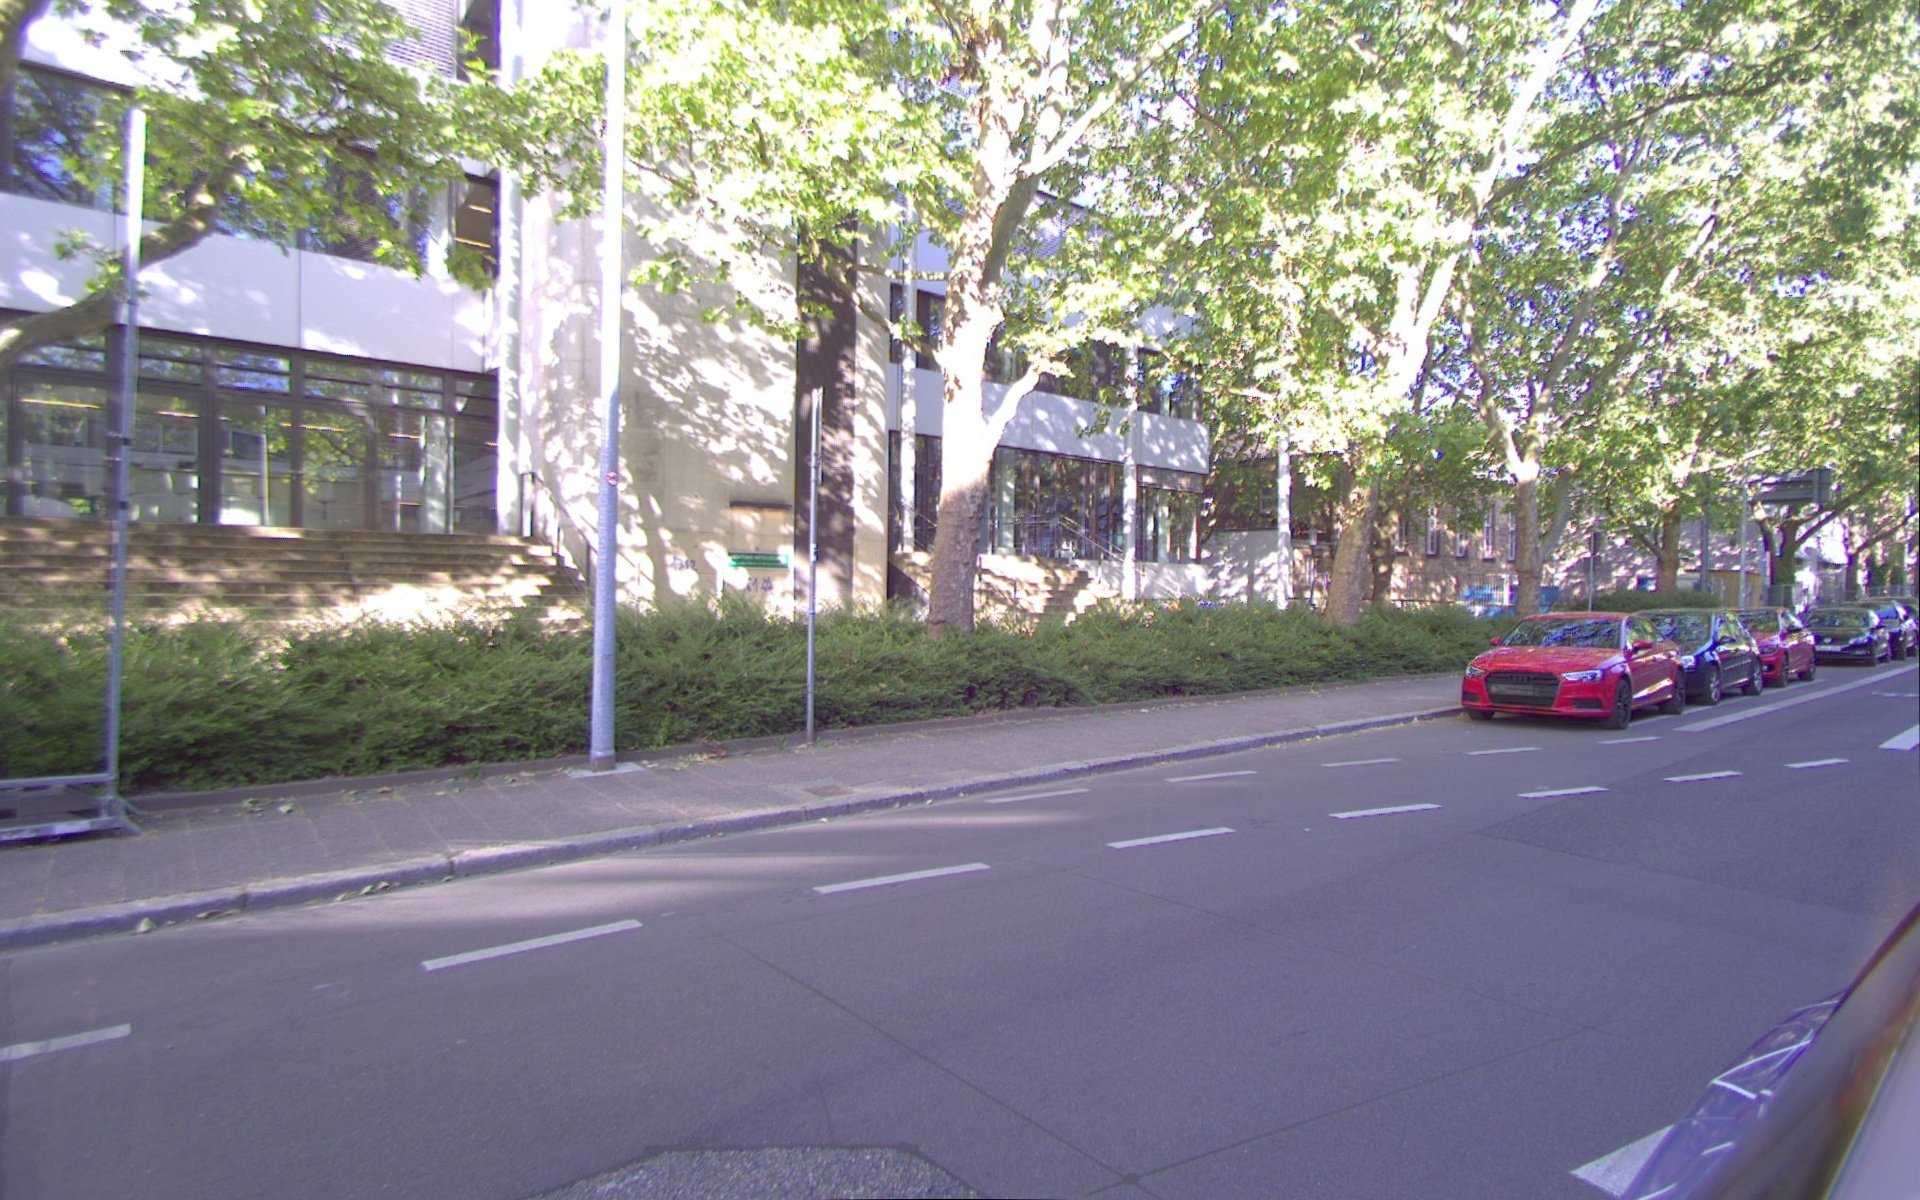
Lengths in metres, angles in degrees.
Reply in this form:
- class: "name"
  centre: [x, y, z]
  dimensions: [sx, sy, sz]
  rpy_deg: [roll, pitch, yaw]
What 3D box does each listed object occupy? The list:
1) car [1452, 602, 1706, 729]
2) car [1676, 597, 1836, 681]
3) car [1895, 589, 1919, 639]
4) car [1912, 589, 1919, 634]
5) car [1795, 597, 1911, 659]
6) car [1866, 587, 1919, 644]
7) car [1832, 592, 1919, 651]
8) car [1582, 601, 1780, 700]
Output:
- class: "car"
  centre: [8.361, 0.751, 13.537]
  dimensions: [4.092, 1.431, 1.815]
  rpy_deg: [0, -1, -42]
- class: "car"
  centre: [15.861, 0.698, 20.097]
  dimensions: [4.092, 1.502, 1.815]
  rpy_deg: [0, -1, -42]
- class: "car"
  centre: [35.912, 0.481, 37.239]
  dimensions: [4.475, 1.777, 1.788]
  rpy_deg: [0, -1, -42]
- class: "car"
  centre: [39.629, 0.436, 40.389]
  dimensions: [4.475, 1.777, 2.040]
  rpy_deg: [0, -1, -42]
- class: "car"
  centre: [23.053, 0.677, 26.090]
  dimensions: [4.092, 1.478, 1.788]
  rpy_deg: [0, -1, -42]
- class: "car"
  centre: [31.059, 0.486, 33.004]
  dimensions: [4.271, 1.777, 1.788]
  rpy_deg: [0, -1, -42]
- class: "car"
  centre: [26.598, 0.586, 29.121]
  dimensions: [4.092, 1.573, 1.788]
  rpy_deg: [0, -1, -42]
- class: "car"
  centre: [11.955, 0.736, 16.676]
  dimensions: [4.092, 1.431, 1.815]
  rpy_deg: [0, -1, -42]
